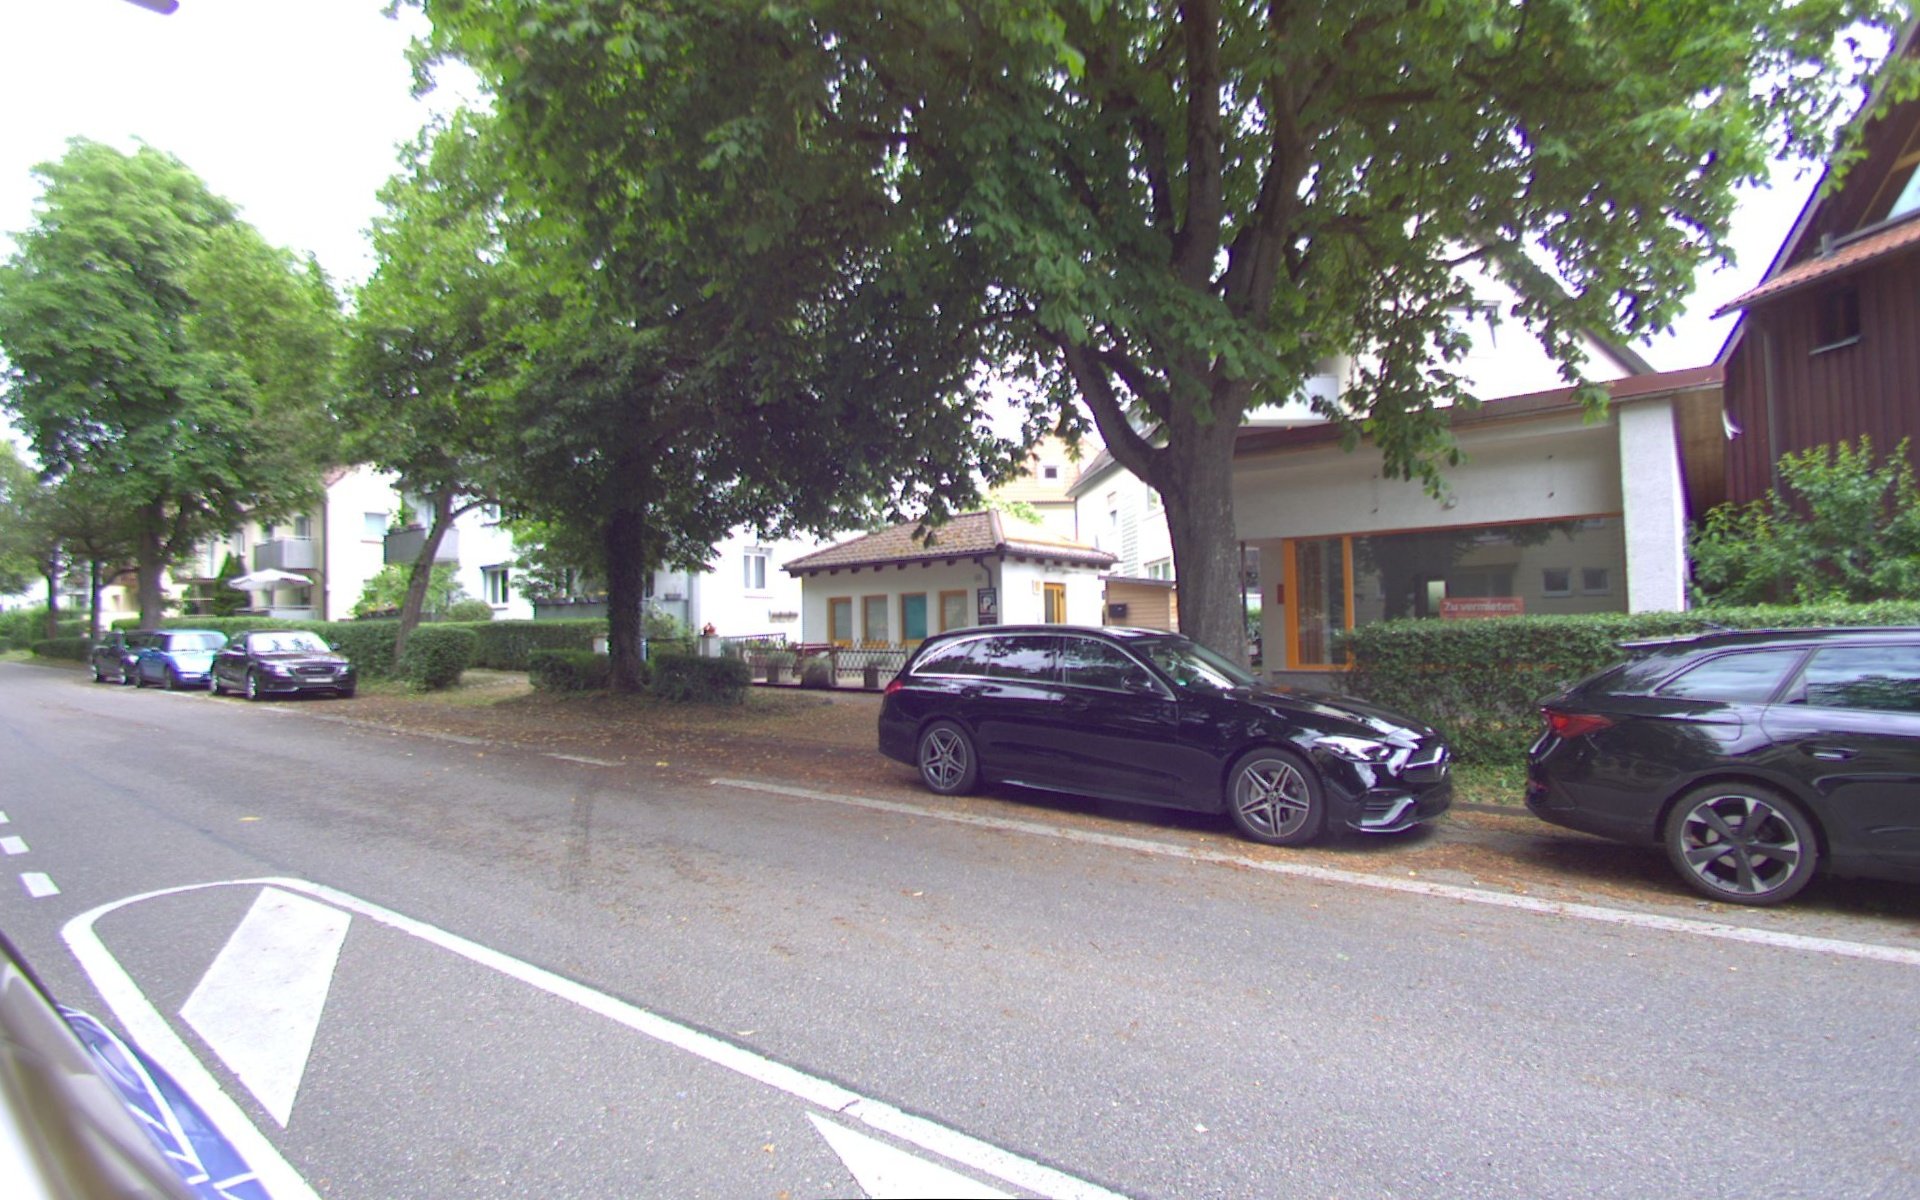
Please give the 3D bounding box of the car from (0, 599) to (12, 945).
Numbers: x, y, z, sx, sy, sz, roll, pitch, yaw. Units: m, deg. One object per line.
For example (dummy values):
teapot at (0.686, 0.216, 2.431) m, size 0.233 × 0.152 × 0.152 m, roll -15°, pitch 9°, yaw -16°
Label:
car at (-6.310, 0.790, 4.939) m, size 4.612 × 1.511 × 1.973 m, roll -2°, pitch -3°, yaw 41°

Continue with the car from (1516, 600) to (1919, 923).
car at (5.453, 0.755, 4.989) m, size 4.536 × 1.497 × 1.674 m, roll -2°, pitch -3°, yaw 38°

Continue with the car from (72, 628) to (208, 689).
car at (-22.603, 1.561, 27.853) m, size 4.558 × 1.545 × 1.866 m, roll -2°, pitch -3°, yaw 37°

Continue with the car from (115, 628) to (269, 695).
car at (-18.914, 1.462, 24.861) m, size 4.558 × 1.512 × 1.866 m, roll -2°, pitch -3°, yaw 37°

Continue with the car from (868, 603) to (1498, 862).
car at (1.558, 0.863, 8.202) m, size 4.612 × 1.511 × 1.973 m, roll -2°, pitch -3°, yaw 41°

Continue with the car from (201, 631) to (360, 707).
car at (-14.220, 1.376, 21.094) m, size 4.169 × 1.414 × 1.713 m, roll -2°, pitch -3°, yaw 41°
